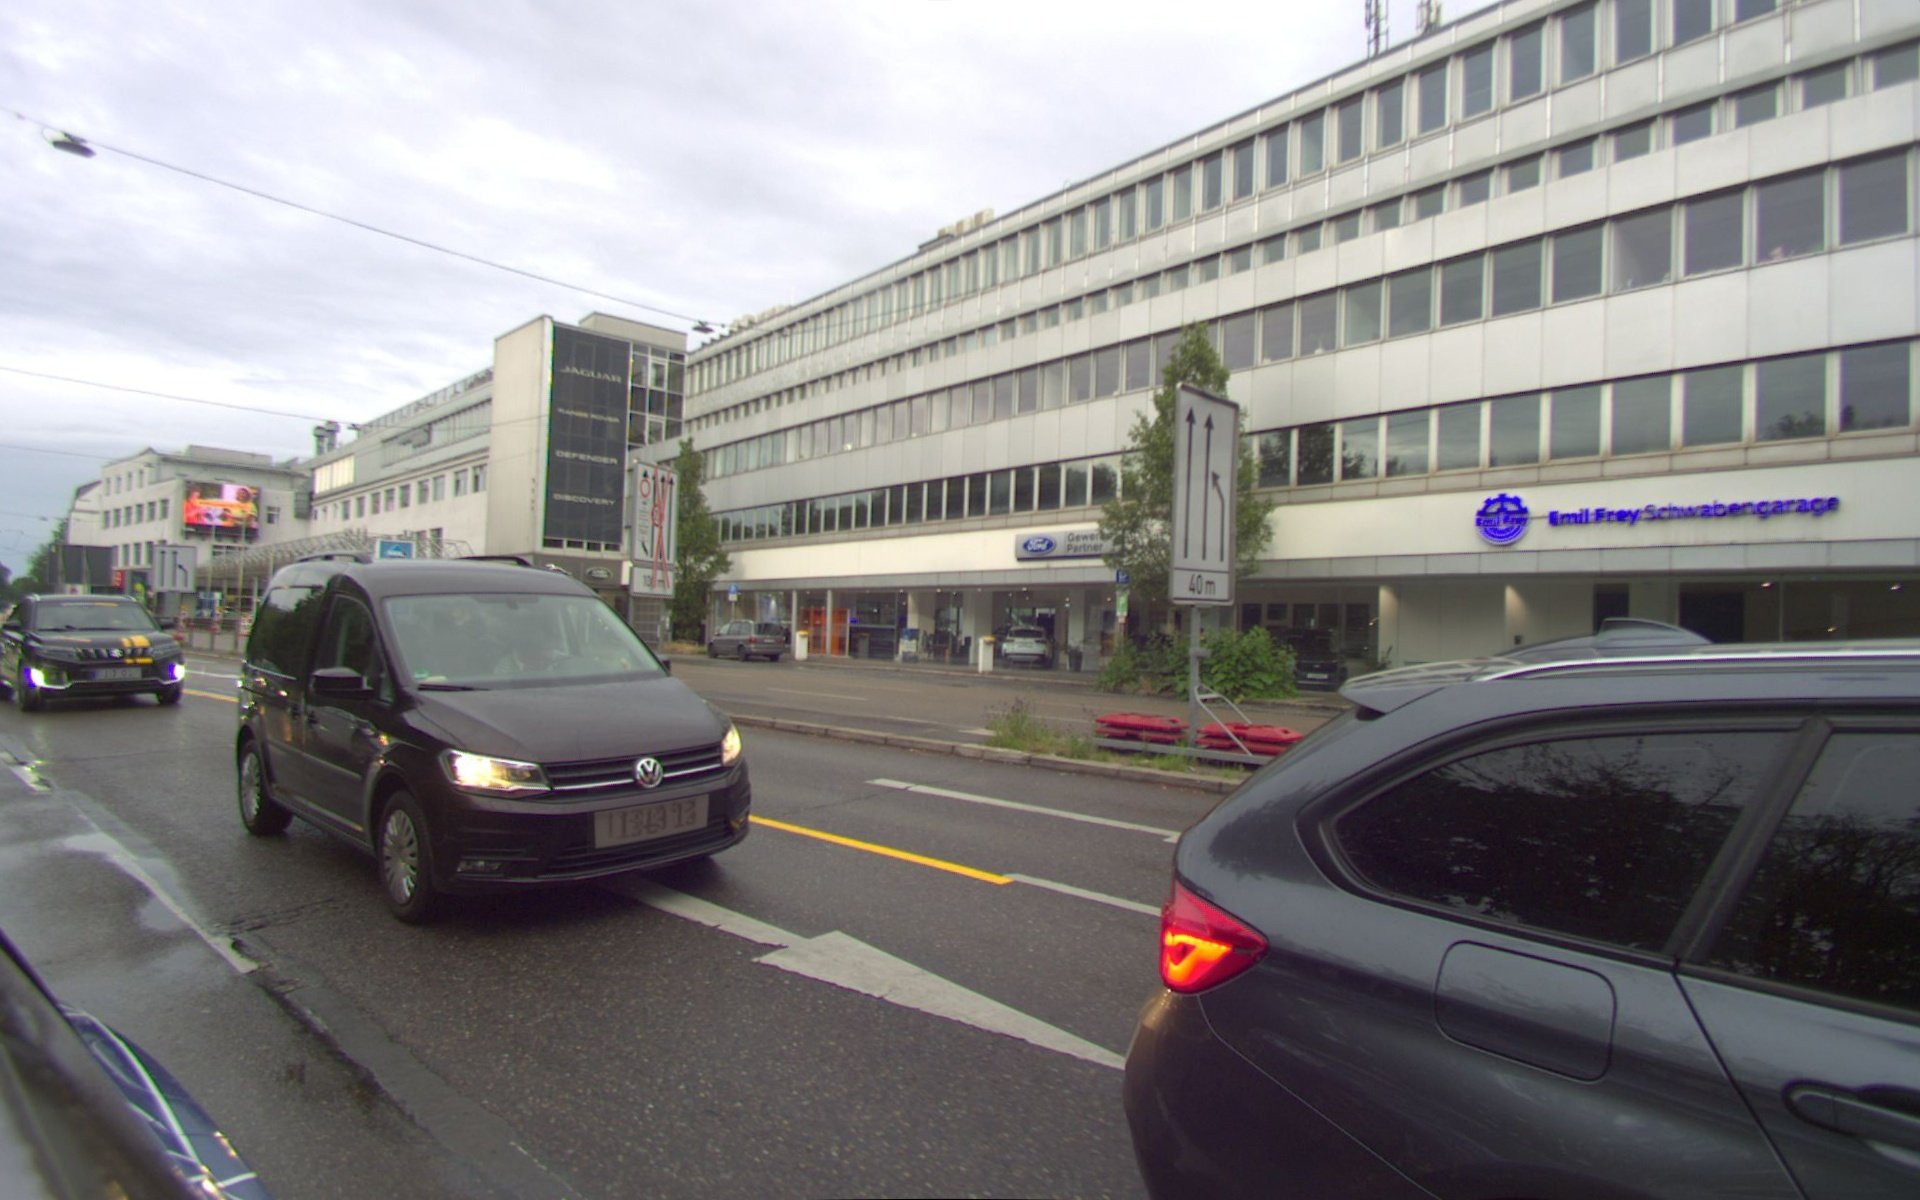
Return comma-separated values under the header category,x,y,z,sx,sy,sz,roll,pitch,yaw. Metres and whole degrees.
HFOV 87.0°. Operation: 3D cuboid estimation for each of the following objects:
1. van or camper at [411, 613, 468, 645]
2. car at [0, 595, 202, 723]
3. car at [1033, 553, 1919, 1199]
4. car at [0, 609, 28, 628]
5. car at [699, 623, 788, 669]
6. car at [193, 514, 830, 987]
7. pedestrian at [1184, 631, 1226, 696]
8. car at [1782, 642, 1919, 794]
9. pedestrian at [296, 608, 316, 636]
category,x,y,z,sx,sy,sz,roll,pitch,yaw
van or camper,-32.201,1.779,62.575,1.912,1.938,4.689,3,-2,-43
car,-12.889,0.746,14.876,4.328,1.611,1.792,0,0,39
car,2.376,0.712,1.044,4.477,1.469,1.757,0,-3,43
car,-85.072,1.692,90.647,3.761,1.544,1.783,-1,-5,40
car,-9.461,1.945,44.082,1.895,1.829,4.169,0,0,-44
car,-2.953,0.583,6.108,4.429,1.828,1.880,0,0,42
pedestrian,6.967,1.788,28.792,0.750,1.788,0.865,0,0,-42
car,10.562,1.175,9.598,4.214,1.430,1.667,0,-3,43
pedestrian,-43.370,1.450,67.106,0.942,1.828,0.882,0,0,45
